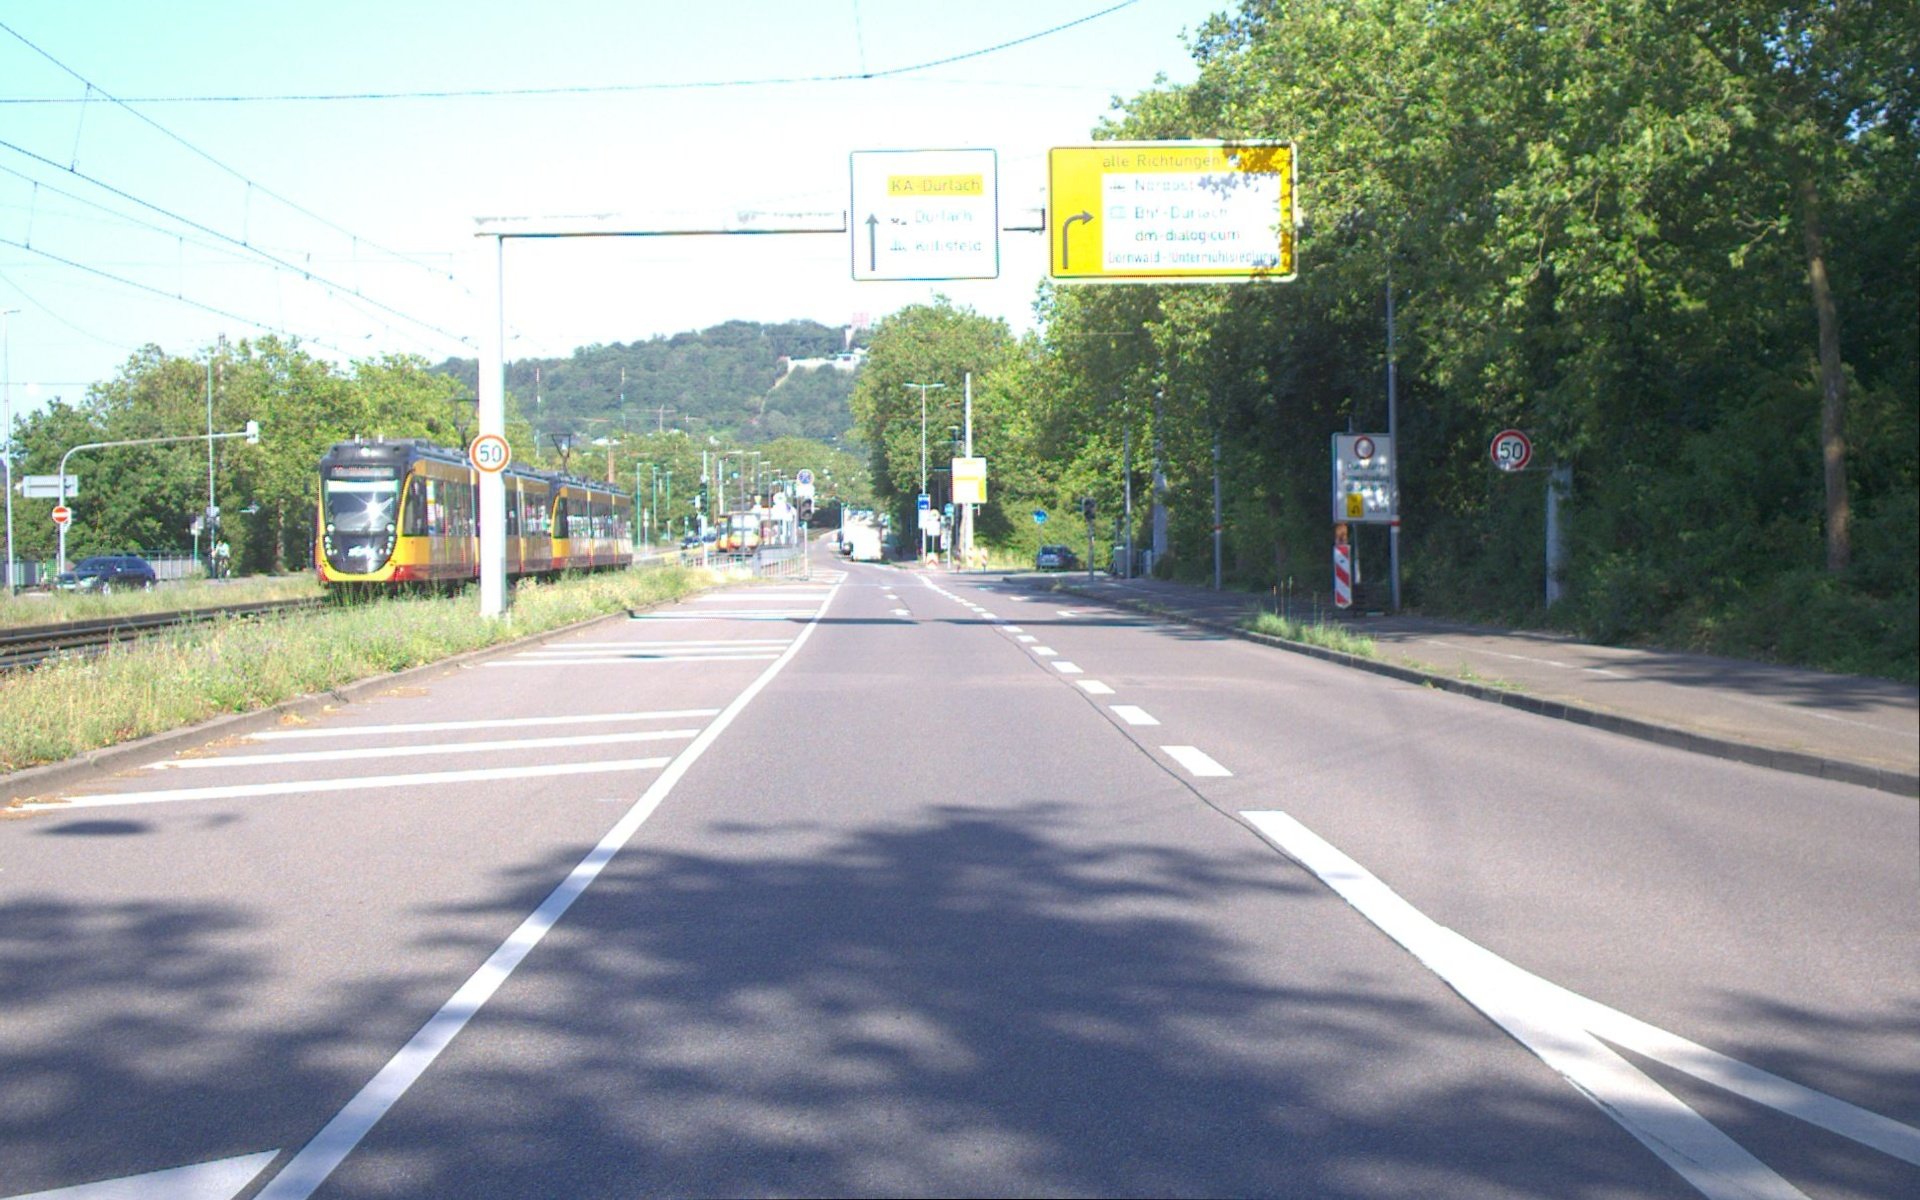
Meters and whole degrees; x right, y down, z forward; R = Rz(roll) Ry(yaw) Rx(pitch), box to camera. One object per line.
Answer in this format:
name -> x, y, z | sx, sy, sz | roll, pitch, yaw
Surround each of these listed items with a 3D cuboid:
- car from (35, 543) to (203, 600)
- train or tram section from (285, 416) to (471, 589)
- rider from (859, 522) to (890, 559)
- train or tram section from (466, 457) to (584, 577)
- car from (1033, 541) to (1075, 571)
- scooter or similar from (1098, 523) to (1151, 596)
car -> -28.145, -0.952, 115.037 | 5.120, 1.808, 1.948 | 0, 1, -28
train or tram section -> -14.097, -2.317, 84.247 | 2.804, 3.889, 12.334 | 1, 1, -2
rider -> -6.083, -4.219, 245.213 | 2.109, 2.638, 0.736 | 0, 1, 4
train or tram section -> -15.144, -2.854, 120.554 | 2.824, 3.937, 12.708 | 1, 1, -2
car -> 5.138, -2.412, 187.646 | 2.087, 1.560, 3.955 | 1, 1, 5
scooter or similar -> 6.232, -1.548, 130.375 | 1.681, 2.706, 4.869 | 1, 1, -1
